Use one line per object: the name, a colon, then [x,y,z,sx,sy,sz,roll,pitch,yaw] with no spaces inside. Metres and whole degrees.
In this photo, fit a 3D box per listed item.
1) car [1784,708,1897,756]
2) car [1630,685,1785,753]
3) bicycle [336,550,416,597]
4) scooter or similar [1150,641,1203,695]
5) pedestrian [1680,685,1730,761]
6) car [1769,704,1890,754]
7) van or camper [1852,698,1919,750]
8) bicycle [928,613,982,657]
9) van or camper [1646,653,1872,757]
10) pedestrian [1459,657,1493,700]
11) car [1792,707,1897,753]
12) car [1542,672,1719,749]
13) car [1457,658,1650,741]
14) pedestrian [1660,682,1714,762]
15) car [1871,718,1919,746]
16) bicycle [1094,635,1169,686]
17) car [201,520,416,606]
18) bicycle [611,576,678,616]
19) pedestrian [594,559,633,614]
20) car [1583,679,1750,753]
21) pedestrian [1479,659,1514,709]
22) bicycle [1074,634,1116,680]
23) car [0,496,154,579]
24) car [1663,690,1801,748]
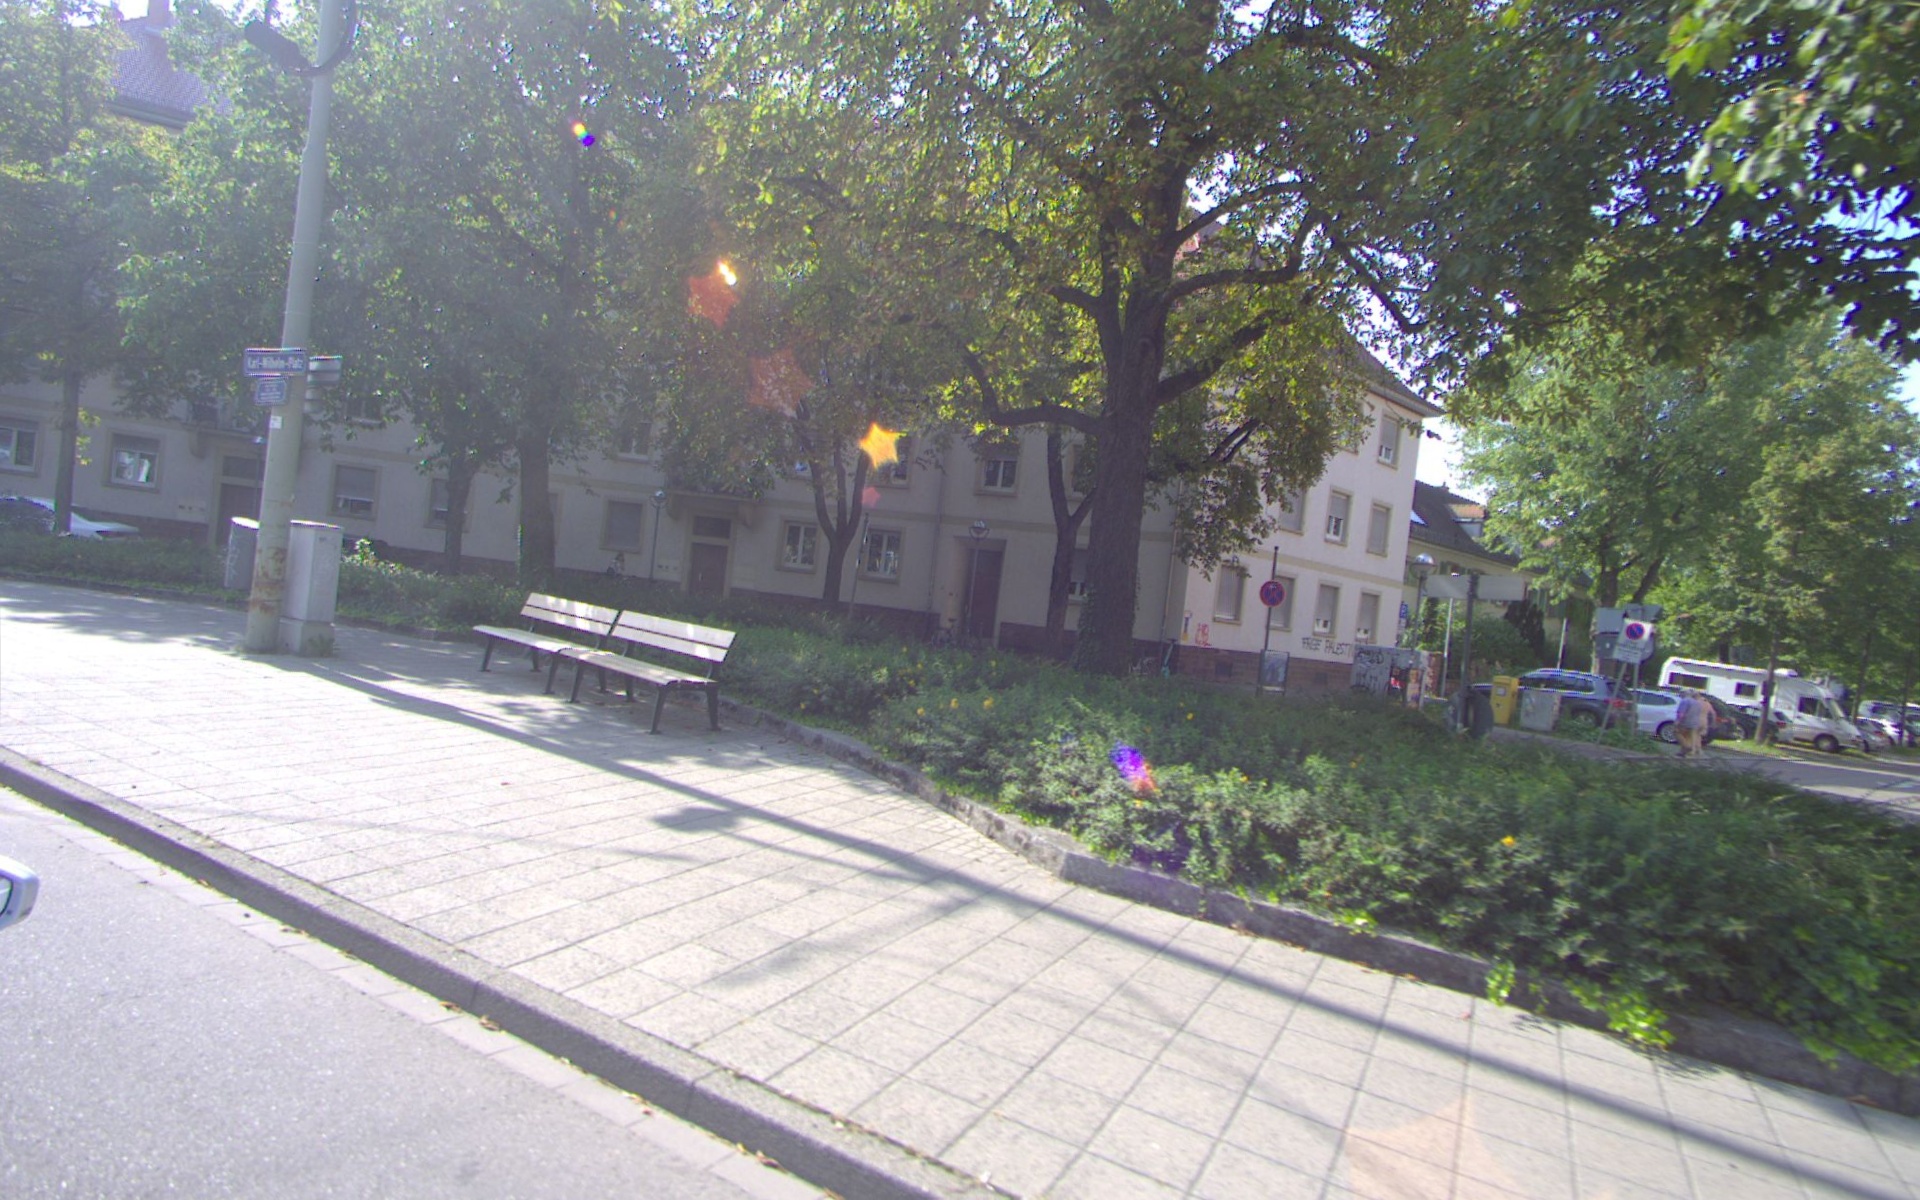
car: [43.306,6.457,49.519,3.968,1.454,1.653,11,3,45]
car: [25.784,4.080,34.788,3.968,1.481,1.653,11,3,45]
bicycle: [-16.829,-0.751,29.006,1.807,1.071,0.608,9,0,-3]
scooter or similar: [5.194,1.634,24.167,1.099,1.172,0.439,7,0,-26]
pedestrian: [18.667,3.083,25.214,0.597,1.786,0.589,6,1,-11]
car: [39.762,5.885,46.079,3.968,1.386,1.653,11,3,45]
van or camper: [67.390,9.035,70.900,1.987,2.916,6.257,9,1,-40]
bicycle: [-0.154,0.985,28.514,1.464,1.073,0.416,6,1,33]
van or camper: [33.395,4.319,42.315,1.987,2.916,6.860,9,1,-41]
pedestrian: [19.977,3.036,38.940,0.852,1.566,0.761,6,0,-42]
car: [47.307,6.920,53.866,3.968,1.611,1.653,11,3,45]
car: [20.478,3.349,30.840,4.139,1.481,1.653,11,3,45]
car: [16.258,2.708,27.749,1.650,1.658,4.148,6,0,-40]
pedestrian: [17.519,2.926,24.248,0.597,1.786,0.654,6,1,-9]
car: [63.505,8.967,67.011,3.968,1.386,1.653,11,3,45]
bicycle: [4.202,1.481,24.607,1.822,1.071,0.603,7,0,-35]
car: [-15.426,-0.863,23.999,3.821,1.470,1.749,7,1,-5]
bicycle: [-9.866,-0.119,31.445,1.873,1.019,0.534,7,0,9]
pedestrian: [-11.337,-0.426,32.939,0.850,1.692,0.688,6,1,2]
car: [22.393,3.651,31.993,3.968,1.481,1.653,11,3,45]
pedestrian: [20.470,3.219,38.381,0.852,1.782,0.761,6,0,-40]
bicycle: [3.455,1.447,25.650,0.597,1.071,1.870,7,-1,20]
car: [-21.378,-1.529,22.414,4.884,1.488,1.866,7,2,-20]
car: [29.919,4.589,39.060,3.968,1.386,1.653,11,3,45]
